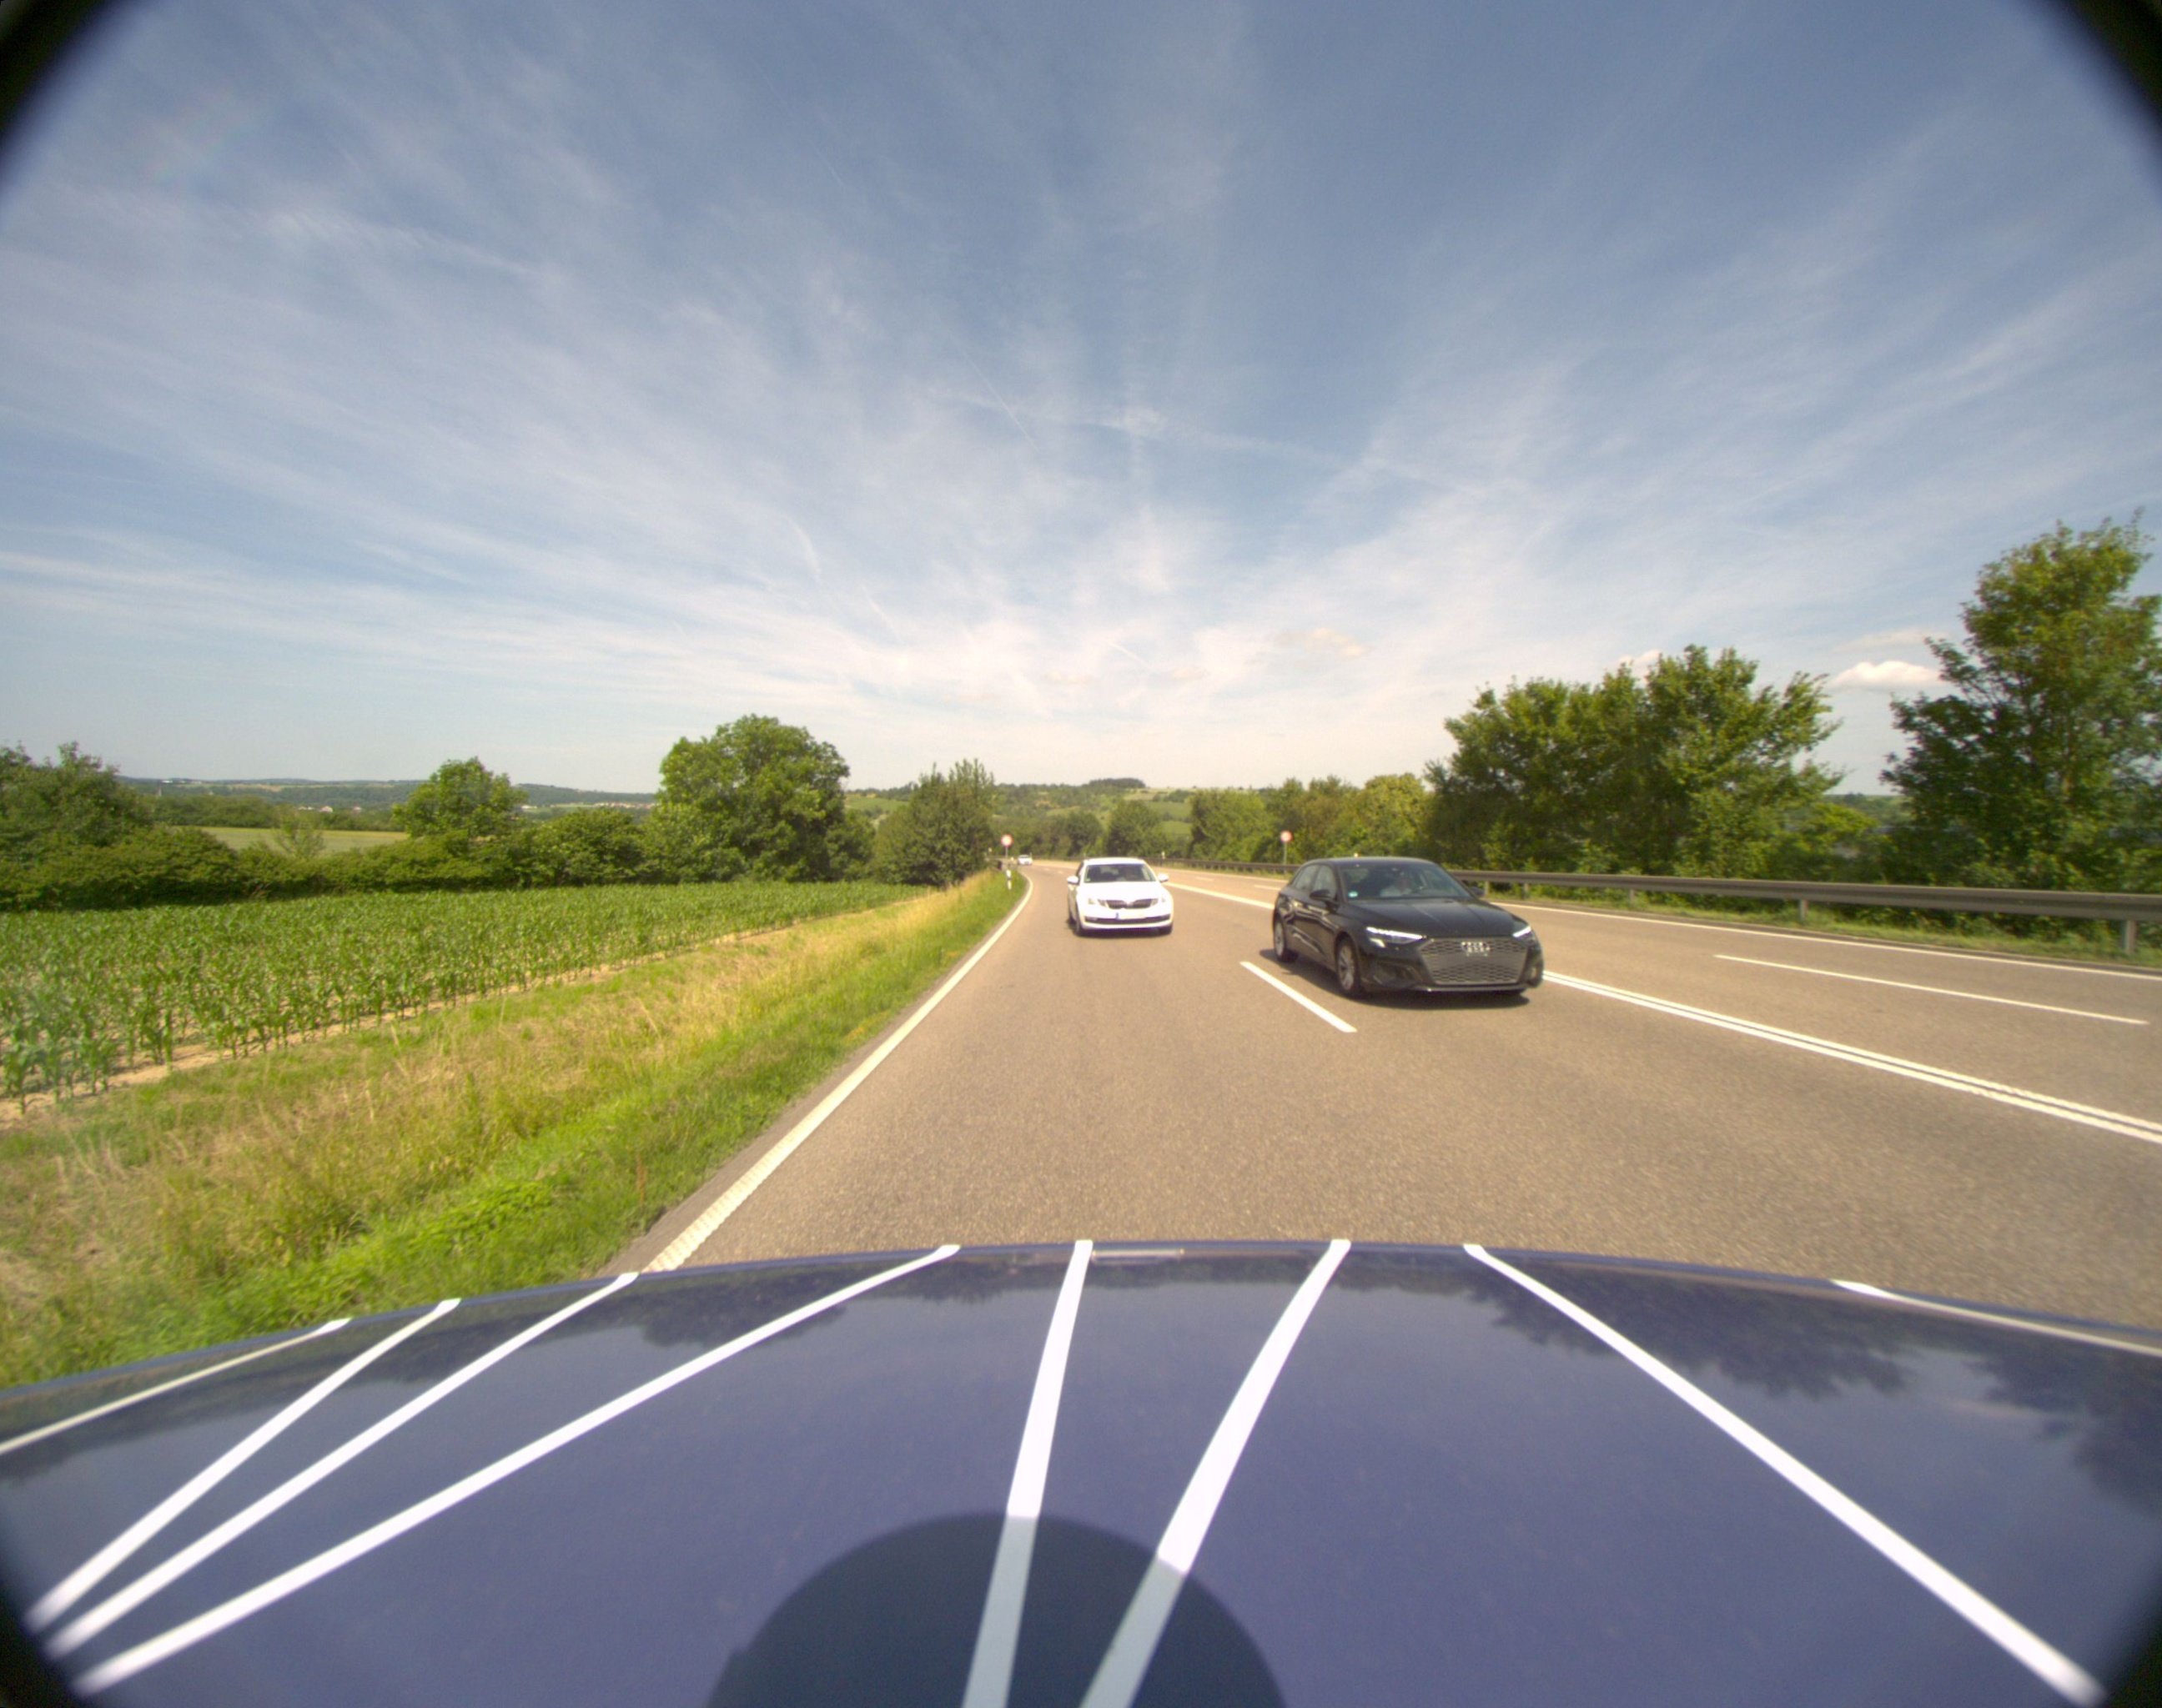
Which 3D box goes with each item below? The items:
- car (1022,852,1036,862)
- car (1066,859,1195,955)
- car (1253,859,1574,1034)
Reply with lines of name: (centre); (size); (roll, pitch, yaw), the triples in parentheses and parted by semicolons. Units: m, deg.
car: (-7.472, 0.463, 109.543); (1.709, 1.368, 4.600); (-1, 0, -8)
car: (0.750, 0.860, 14.555); (1.826, 1.463, 4.787); (-1, 0, -4)
car: (3.481, 0.835, 9.113); (1.709, 1.464, 4.810); (-1, 0, 0)
